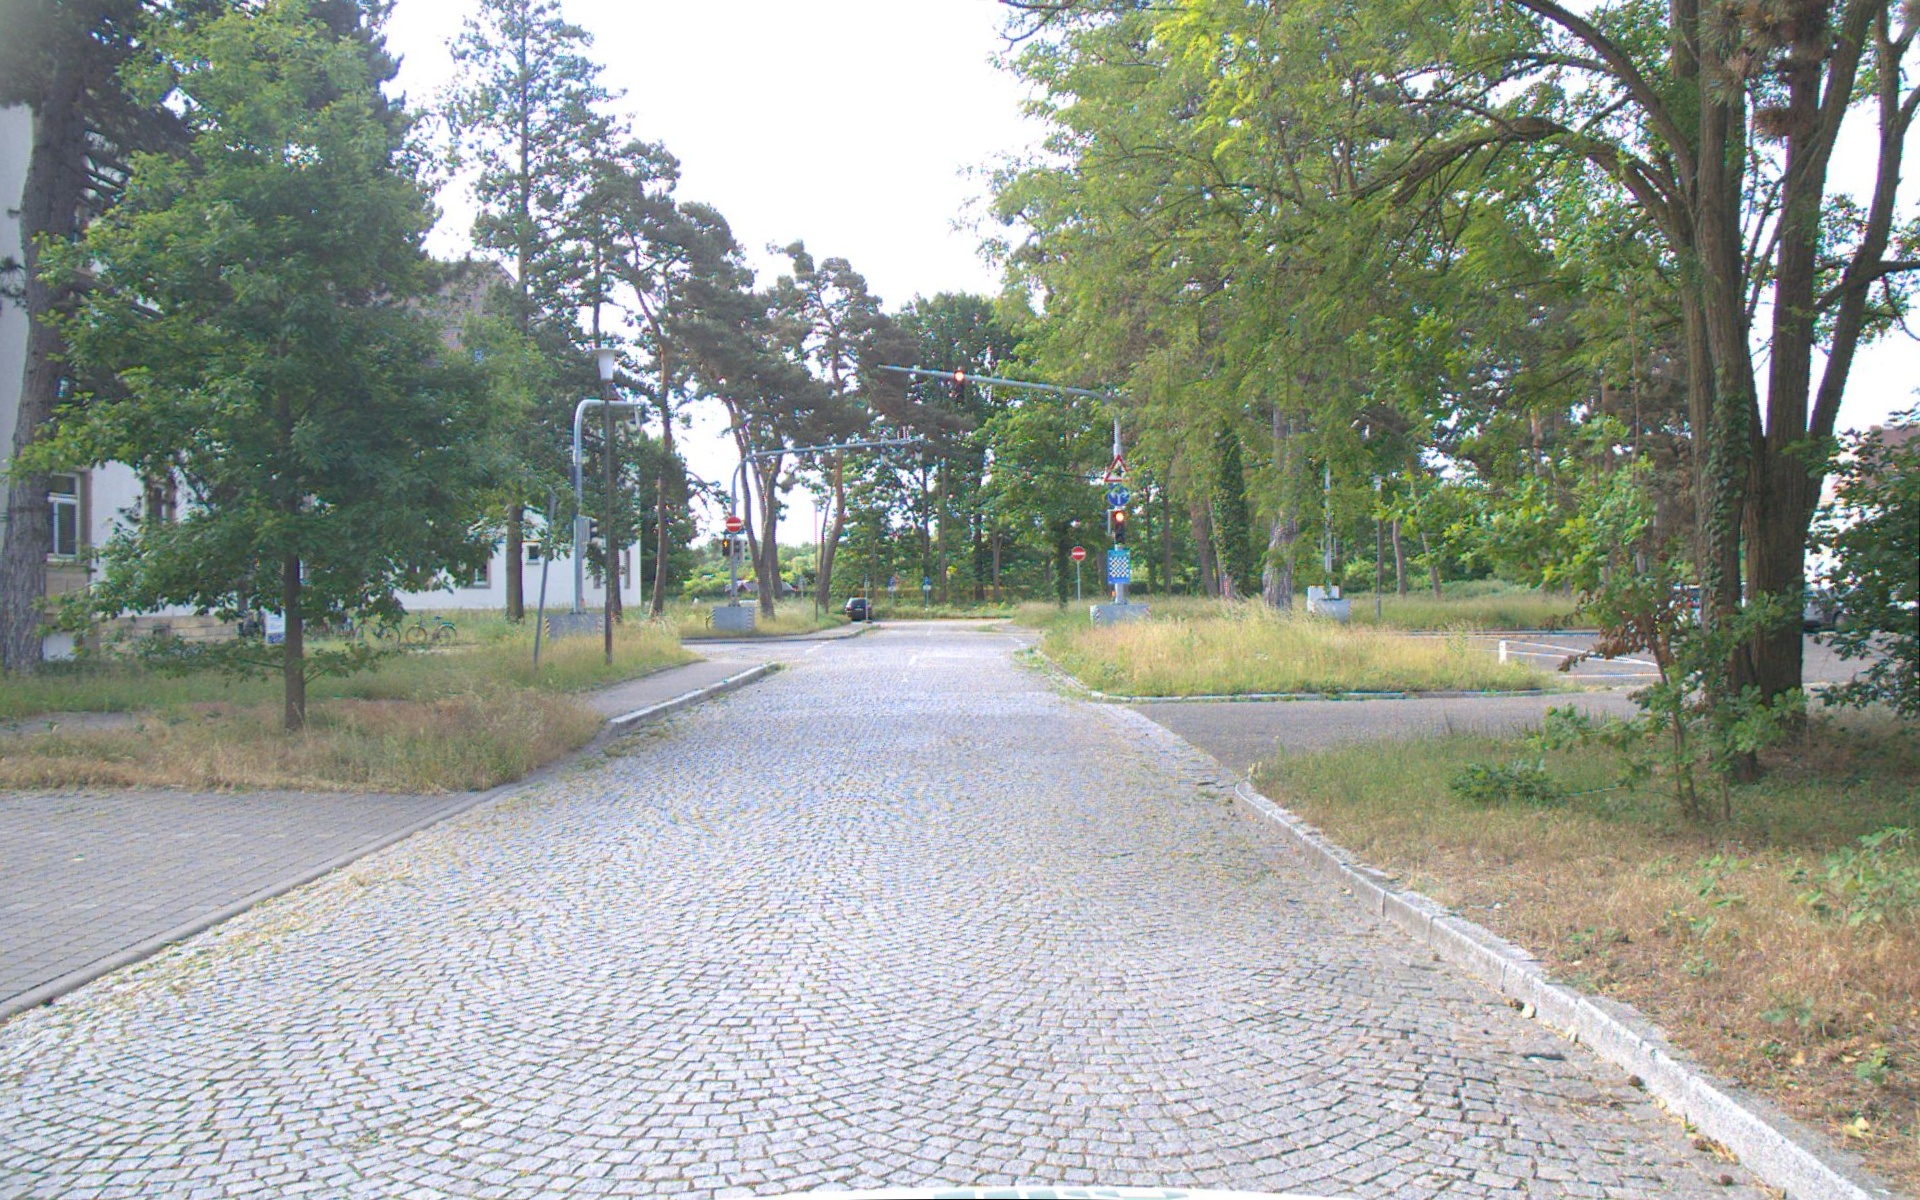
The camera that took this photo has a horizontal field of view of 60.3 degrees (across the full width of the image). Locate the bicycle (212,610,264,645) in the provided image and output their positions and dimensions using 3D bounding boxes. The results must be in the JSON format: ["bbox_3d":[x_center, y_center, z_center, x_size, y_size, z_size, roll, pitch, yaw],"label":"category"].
[{"bbox_3d":[-23.690,0.891,54.333,0.721,1.095,2.273,-1,0,0],"label":"bicycle"}]

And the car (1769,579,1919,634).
[{"bbox_3d":[25.768,0.226,48.208,1.954,1.507,4.421,-1,-1,-4],"label":"car"}]

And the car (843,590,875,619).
[{"bbox_3d":[-6.740,0.265,110.756,2.014,1.878,3.999,-1,0,-2],"label":"car"}]

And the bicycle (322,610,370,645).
[{"bbox_3d":[-20.192,0.890,54.425,0.721,1.095,2.273,-1,0,0],"label":"bicycle"}]

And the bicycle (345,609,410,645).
[{"bbox_3d":[-18.718,0.866,53.197,1.818,1.095,0.738,-1,0,1],"label":"bicycle"}]

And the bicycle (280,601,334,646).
[{"bbox_3d":[-21.556,0.761,54.679,0.721,1.410,2.711,-1,0,0],"label":"bicycle"}]

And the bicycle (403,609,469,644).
[{"bbox_3d":[-16.867,0.854,53.265,1.818,1.095,0.831,-1,0,1],"label":"bicycle"}]

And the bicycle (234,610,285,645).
[{"bbox_3d":[-22.970,0.886,54.273,0.721,1.095,2.273,-1,0,0],"label":"bicycle"}]

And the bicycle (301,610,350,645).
[{"bbox_3d":[-20.821,0.904,54.335,0.721,1.095,2.273,-1,0,0],"label":"bicycle"}]

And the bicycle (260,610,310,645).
[{"bbox_3d":[-22.343,0.904,54.776,0.721,1.095,2.273,-1,0,0],"label":"bicycle"}]

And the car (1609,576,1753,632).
[{"bbox_3d":[20.691,0.158,47.655,1.954,1.507,4.421,-1,-1,-4],"label":"car"}]
